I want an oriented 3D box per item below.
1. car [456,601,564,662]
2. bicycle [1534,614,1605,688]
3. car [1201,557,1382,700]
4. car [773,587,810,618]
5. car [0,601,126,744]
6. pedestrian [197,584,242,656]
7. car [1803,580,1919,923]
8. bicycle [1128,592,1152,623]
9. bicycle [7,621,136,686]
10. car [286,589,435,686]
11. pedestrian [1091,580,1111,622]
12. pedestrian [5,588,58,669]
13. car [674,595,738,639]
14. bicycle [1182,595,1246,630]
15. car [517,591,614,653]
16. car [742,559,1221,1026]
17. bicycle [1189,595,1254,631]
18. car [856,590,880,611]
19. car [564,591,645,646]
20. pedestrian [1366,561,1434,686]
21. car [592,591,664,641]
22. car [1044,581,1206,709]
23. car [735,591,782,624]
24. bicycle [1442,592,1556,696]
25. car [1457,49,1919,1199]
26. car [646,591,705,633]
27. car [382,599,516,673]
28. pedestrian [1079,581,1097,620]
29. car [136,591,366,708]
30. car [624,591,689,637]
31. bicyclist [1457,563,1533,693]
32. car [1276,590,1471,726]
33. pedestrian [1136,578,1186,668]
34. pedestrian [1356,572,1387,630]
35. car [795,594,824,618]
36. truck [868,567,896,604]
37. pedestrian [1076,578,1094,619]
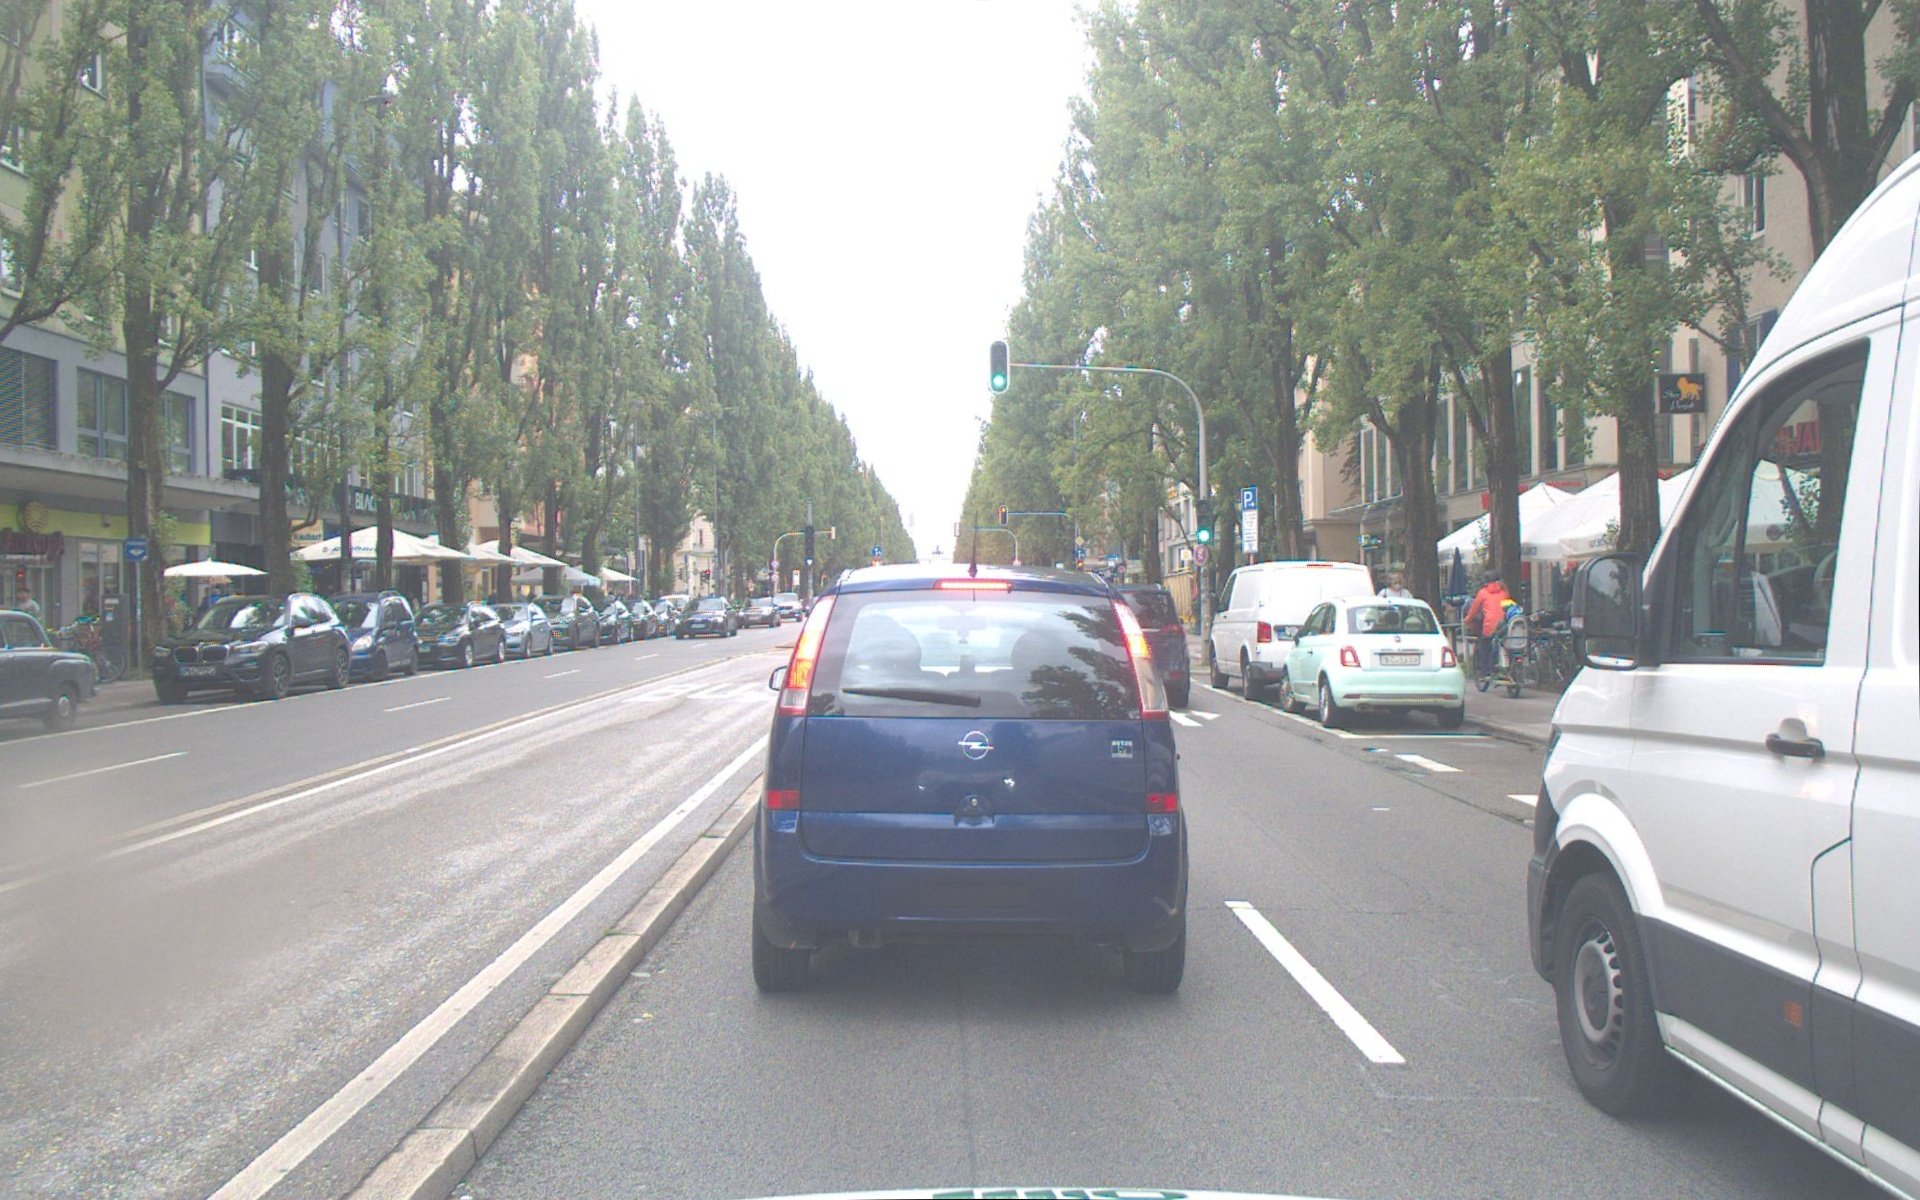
[{"bbox_3d":[-11.808,0.790,43.655,1.698,1.450,4.142,-2,0,-1],"label":"car"},{"bbox_3d":[8.779,0.716,23.861,0.342,1.013,1.453,-2,0,-4],"label":"bicycle"},{"bbox_3d":[4.940,0.376,25.305,1.751,1.980,4.729,0,0,-1],"label":"car"},{"bbox_3d":[-9.660,0.114,94.969,1.735,1.663,4.454,-2,0,-2],"label":"car"},{"bbox_3d":[-11.673,0.853,19.102,1.828,1.579,4.413,-2,0,-1],"label":"car"},{"bbox_3d":[-17.757,0.477,39.682,0.740,1.715,0.675,-1,-1,0],"label":"pedestrian"},{"bbox_3d":[5.129,0.694,7.075,1.560,1.544,2.728,1,0,-3],"label":"car"},{"bbox_3d":[8.240,0.323,75.864,0.757,1.372,2.449,-1,0,-1],"label":"bicycle"},{"bbox_3d":[-16.190,0.966,30.186,1.909,1.114,0.718,2,0,-7],"label":"bicycle"},{"bbox_3d":[-11.800,0.690,32.828,1.676,1.751,3.919,-2,0,-4],"label":"car"},{"bbox_3d":[6.421,0.050,75.420,0.707,1.859,0.885,1,0,-11],"label":"pedestrian"},{"bbox_3d":[-20.121,0.617,35.861,0.740,1.715,0.675,-1,-1,0],"label":"pedestrian"},{"bbox_3d":[-9.379,0.612,61.320,1.663,1.488,4.712,-2,0,-1],"label":"car"},{"bbox_3d":[9.154,0.445,59.639,2.182,1.225,0.626,-1,0,-3],"label":"bicycle"},{"bbox_3d":[-11.723,0.623,49.401,1.828,1.694,4.400,-2,0,-1],"label":"car"},{"bbox_3d":[0.055,0.649,7.671,1.637,1.596,3.999,0,0,-1],"label":"car"},{"bbox_3d":[9.201,0.447,58.202,2.182,1.225,0.626,-1,0,-3],"label":"bicycle"},{"bbox_3d":[-6.960,0.032,125.429,1.699,1.491,3.364,-1,0,-1],"label":"car"},{"bbox_3d":[-11.914,0.589,55.721,1.828,1.694,4.119,-2,0,-1],"label":"car"},{"bbox_3d":[6.486,0.345,24.433,0.810,1.804,0.871,-1,0,5],"label":"pedestrian"},{"bbox_3d":[-12.122,0.566,60.600,1.828,1.694,4.119,-2,0,-1],"label":"car"},{"bbox_3d":[2.243,0.569,23.459,1.858,1.650,3.999,0,0,-1],"label":"car"},{"bbox_3d":[-9.494,0.319,78.223,1.710,1.459,4.129,-2,0,-1],"label":"car"},{"bbox_3d":[7.550,0.579,23.300,0.757,1.372,2.449,-1,0,-1],"label":"bicycle"},{"bbox_3d":[2.793,0.254,2.473,2.021,2.536,6.729,0,0,-1],"label":"car"},{"bbox_3d":[-12.250,0.478,71.386,1.828,1.694,4.119,-2,0,-1],"label":"car"},{"bbox_3d":[-11.805,0.787,38.505,1.762,1.514,4.349,-2,0,-1],"label":"car"},{"bbox_3d":[6.172,0.015,79.626,0.625,1.859,0.885,1,0,-11],"label":"pedestrian"},{"bbox_3d":[-11.585,0.739,27.412,1.828,1.693,4.610,-2,0,-1],"label":"car"},{"bbox_3d":[-12.103,0.520,66.127,1.828,1.694,4.119,-2,0,-1],"label":"car"},{"bbox_3d":[7.540,0.384,23.329,0.752,1.797,0.885,-1,0,-1],"label":"bicyclist"},{"bbox_3d":[4.968,0.646,20.268,1.509,1.518,3.523,0,0,0],"label":"car"},{"bbox_3d":[3.873,0.438,31.924,0.843,1.714,0.626,-1,0,-4],"label":"pedestrian"},{"bbox_3d":[12.444,0.032,50.020,0.660,1.715,0.758,-1,-1,-5],"label":"pedestrian"},{"bbox_3d":[-11.019,0.449,121.407,1.828,1.695,4.119,-1,0,-1],"label":"car"},{"bbox_3d":[-7.315,-1.347,155.147,2.334,3.405,7.109,-1,0,-1],"label":"truck"},{"bbox_3d":[5.685,-0.054,75.296,0.625,1.859,0.885,1,0,-11],"label":"pedestrian"}]
